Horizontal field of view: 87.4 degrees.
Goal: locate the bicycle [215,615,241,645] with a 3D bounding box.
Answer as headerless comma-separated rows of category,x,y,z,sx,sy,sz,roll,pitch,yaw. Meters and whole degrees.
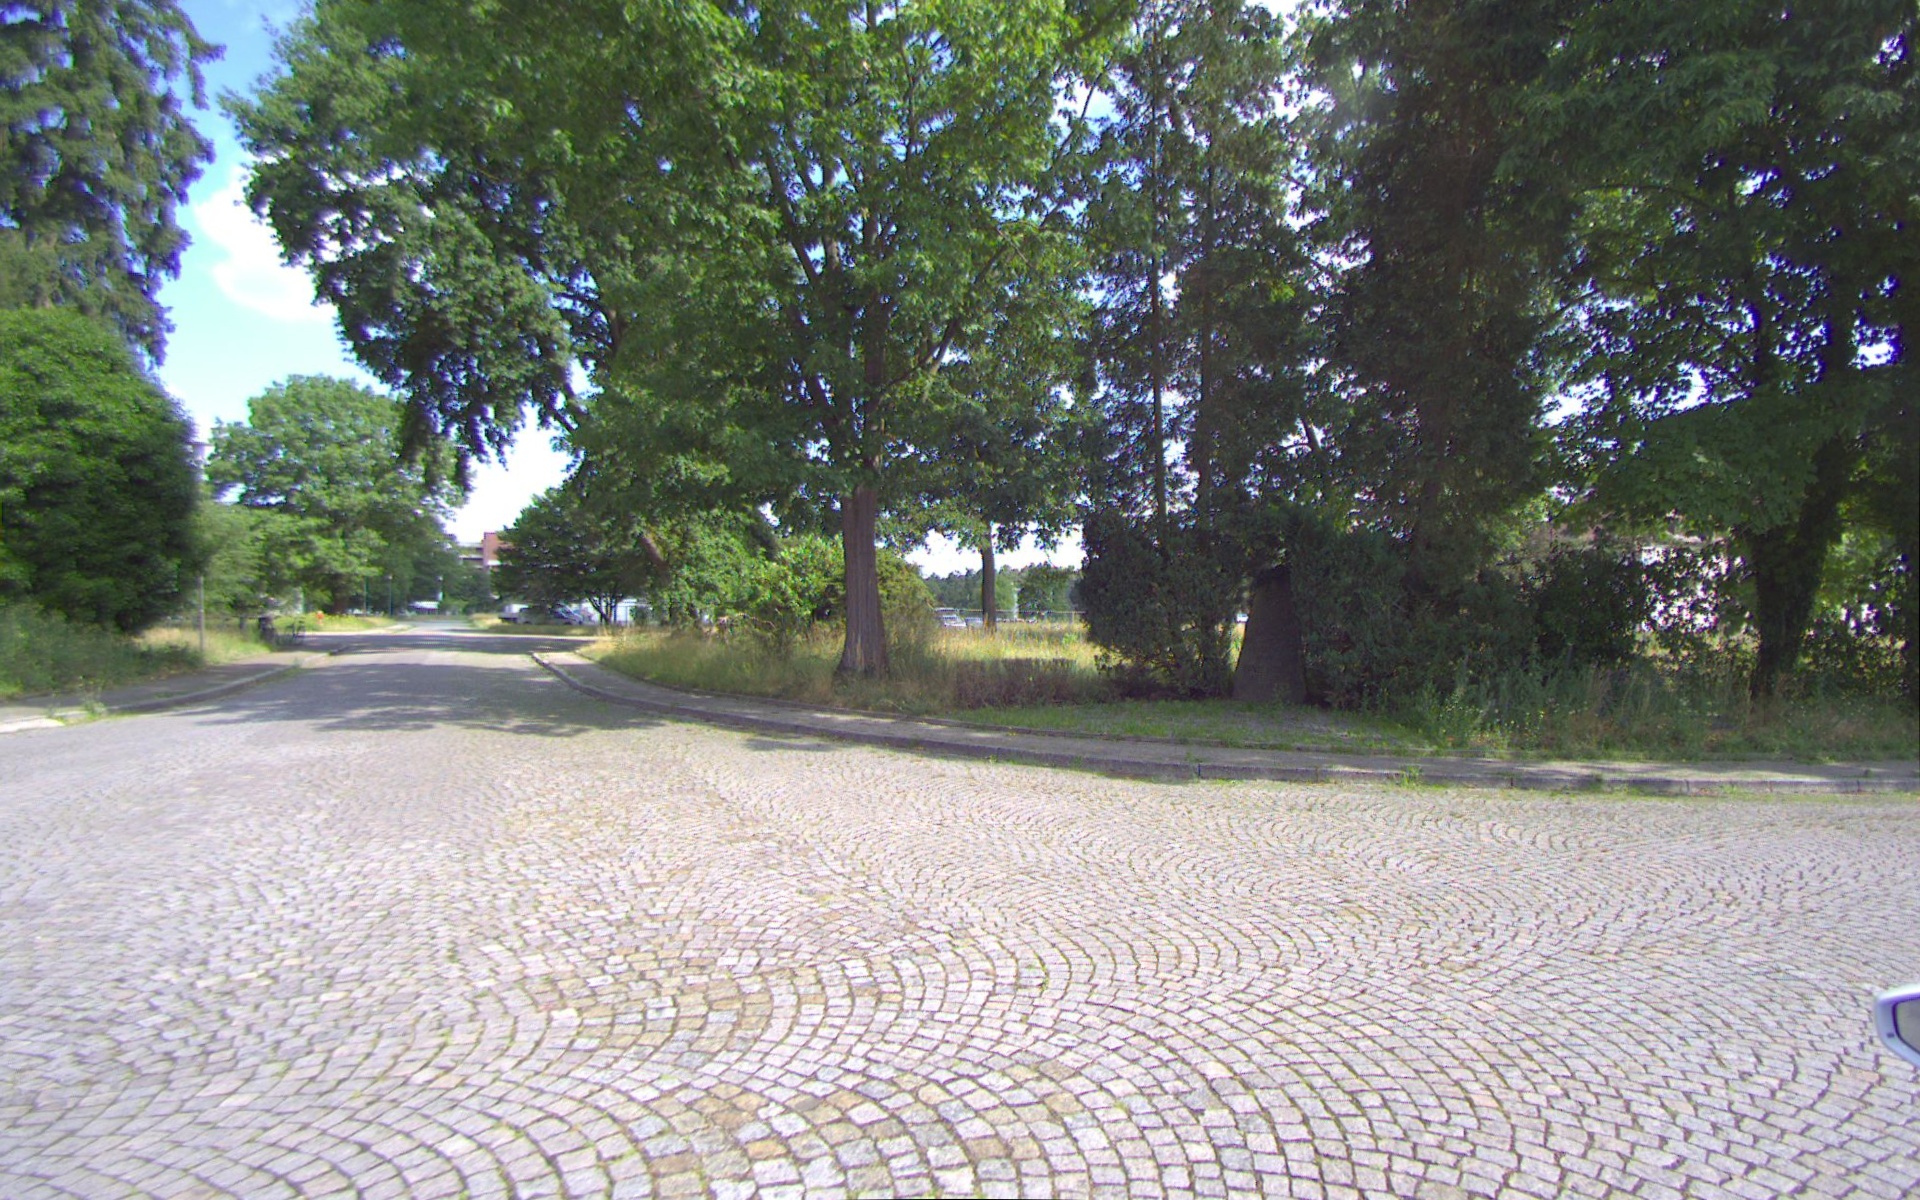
bicycle,-28.140,1.132,38.630,0.553,1.113,2.197,1,-1,-30

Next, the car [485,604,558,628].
car,-39.318,1.468,90.163,5.917,2.018,1.989,1,0,-23

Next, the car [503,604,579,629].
car,-36.041,1.403,86.486,5.917,2.018,1.989,1,0,-23

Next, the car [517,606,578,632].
car,-33.730,1.563,82.231,4.578,2.018,1.989,1,0,-23

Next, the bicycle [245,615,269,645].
bicycle,-27.337,1.150,39.082,0.553,1.113,2.197,1,-1,-30

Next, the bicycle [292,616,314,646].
bicycle,-25.703,1.191,39.320,0.553,1.113,2.197,1,-1,-30
